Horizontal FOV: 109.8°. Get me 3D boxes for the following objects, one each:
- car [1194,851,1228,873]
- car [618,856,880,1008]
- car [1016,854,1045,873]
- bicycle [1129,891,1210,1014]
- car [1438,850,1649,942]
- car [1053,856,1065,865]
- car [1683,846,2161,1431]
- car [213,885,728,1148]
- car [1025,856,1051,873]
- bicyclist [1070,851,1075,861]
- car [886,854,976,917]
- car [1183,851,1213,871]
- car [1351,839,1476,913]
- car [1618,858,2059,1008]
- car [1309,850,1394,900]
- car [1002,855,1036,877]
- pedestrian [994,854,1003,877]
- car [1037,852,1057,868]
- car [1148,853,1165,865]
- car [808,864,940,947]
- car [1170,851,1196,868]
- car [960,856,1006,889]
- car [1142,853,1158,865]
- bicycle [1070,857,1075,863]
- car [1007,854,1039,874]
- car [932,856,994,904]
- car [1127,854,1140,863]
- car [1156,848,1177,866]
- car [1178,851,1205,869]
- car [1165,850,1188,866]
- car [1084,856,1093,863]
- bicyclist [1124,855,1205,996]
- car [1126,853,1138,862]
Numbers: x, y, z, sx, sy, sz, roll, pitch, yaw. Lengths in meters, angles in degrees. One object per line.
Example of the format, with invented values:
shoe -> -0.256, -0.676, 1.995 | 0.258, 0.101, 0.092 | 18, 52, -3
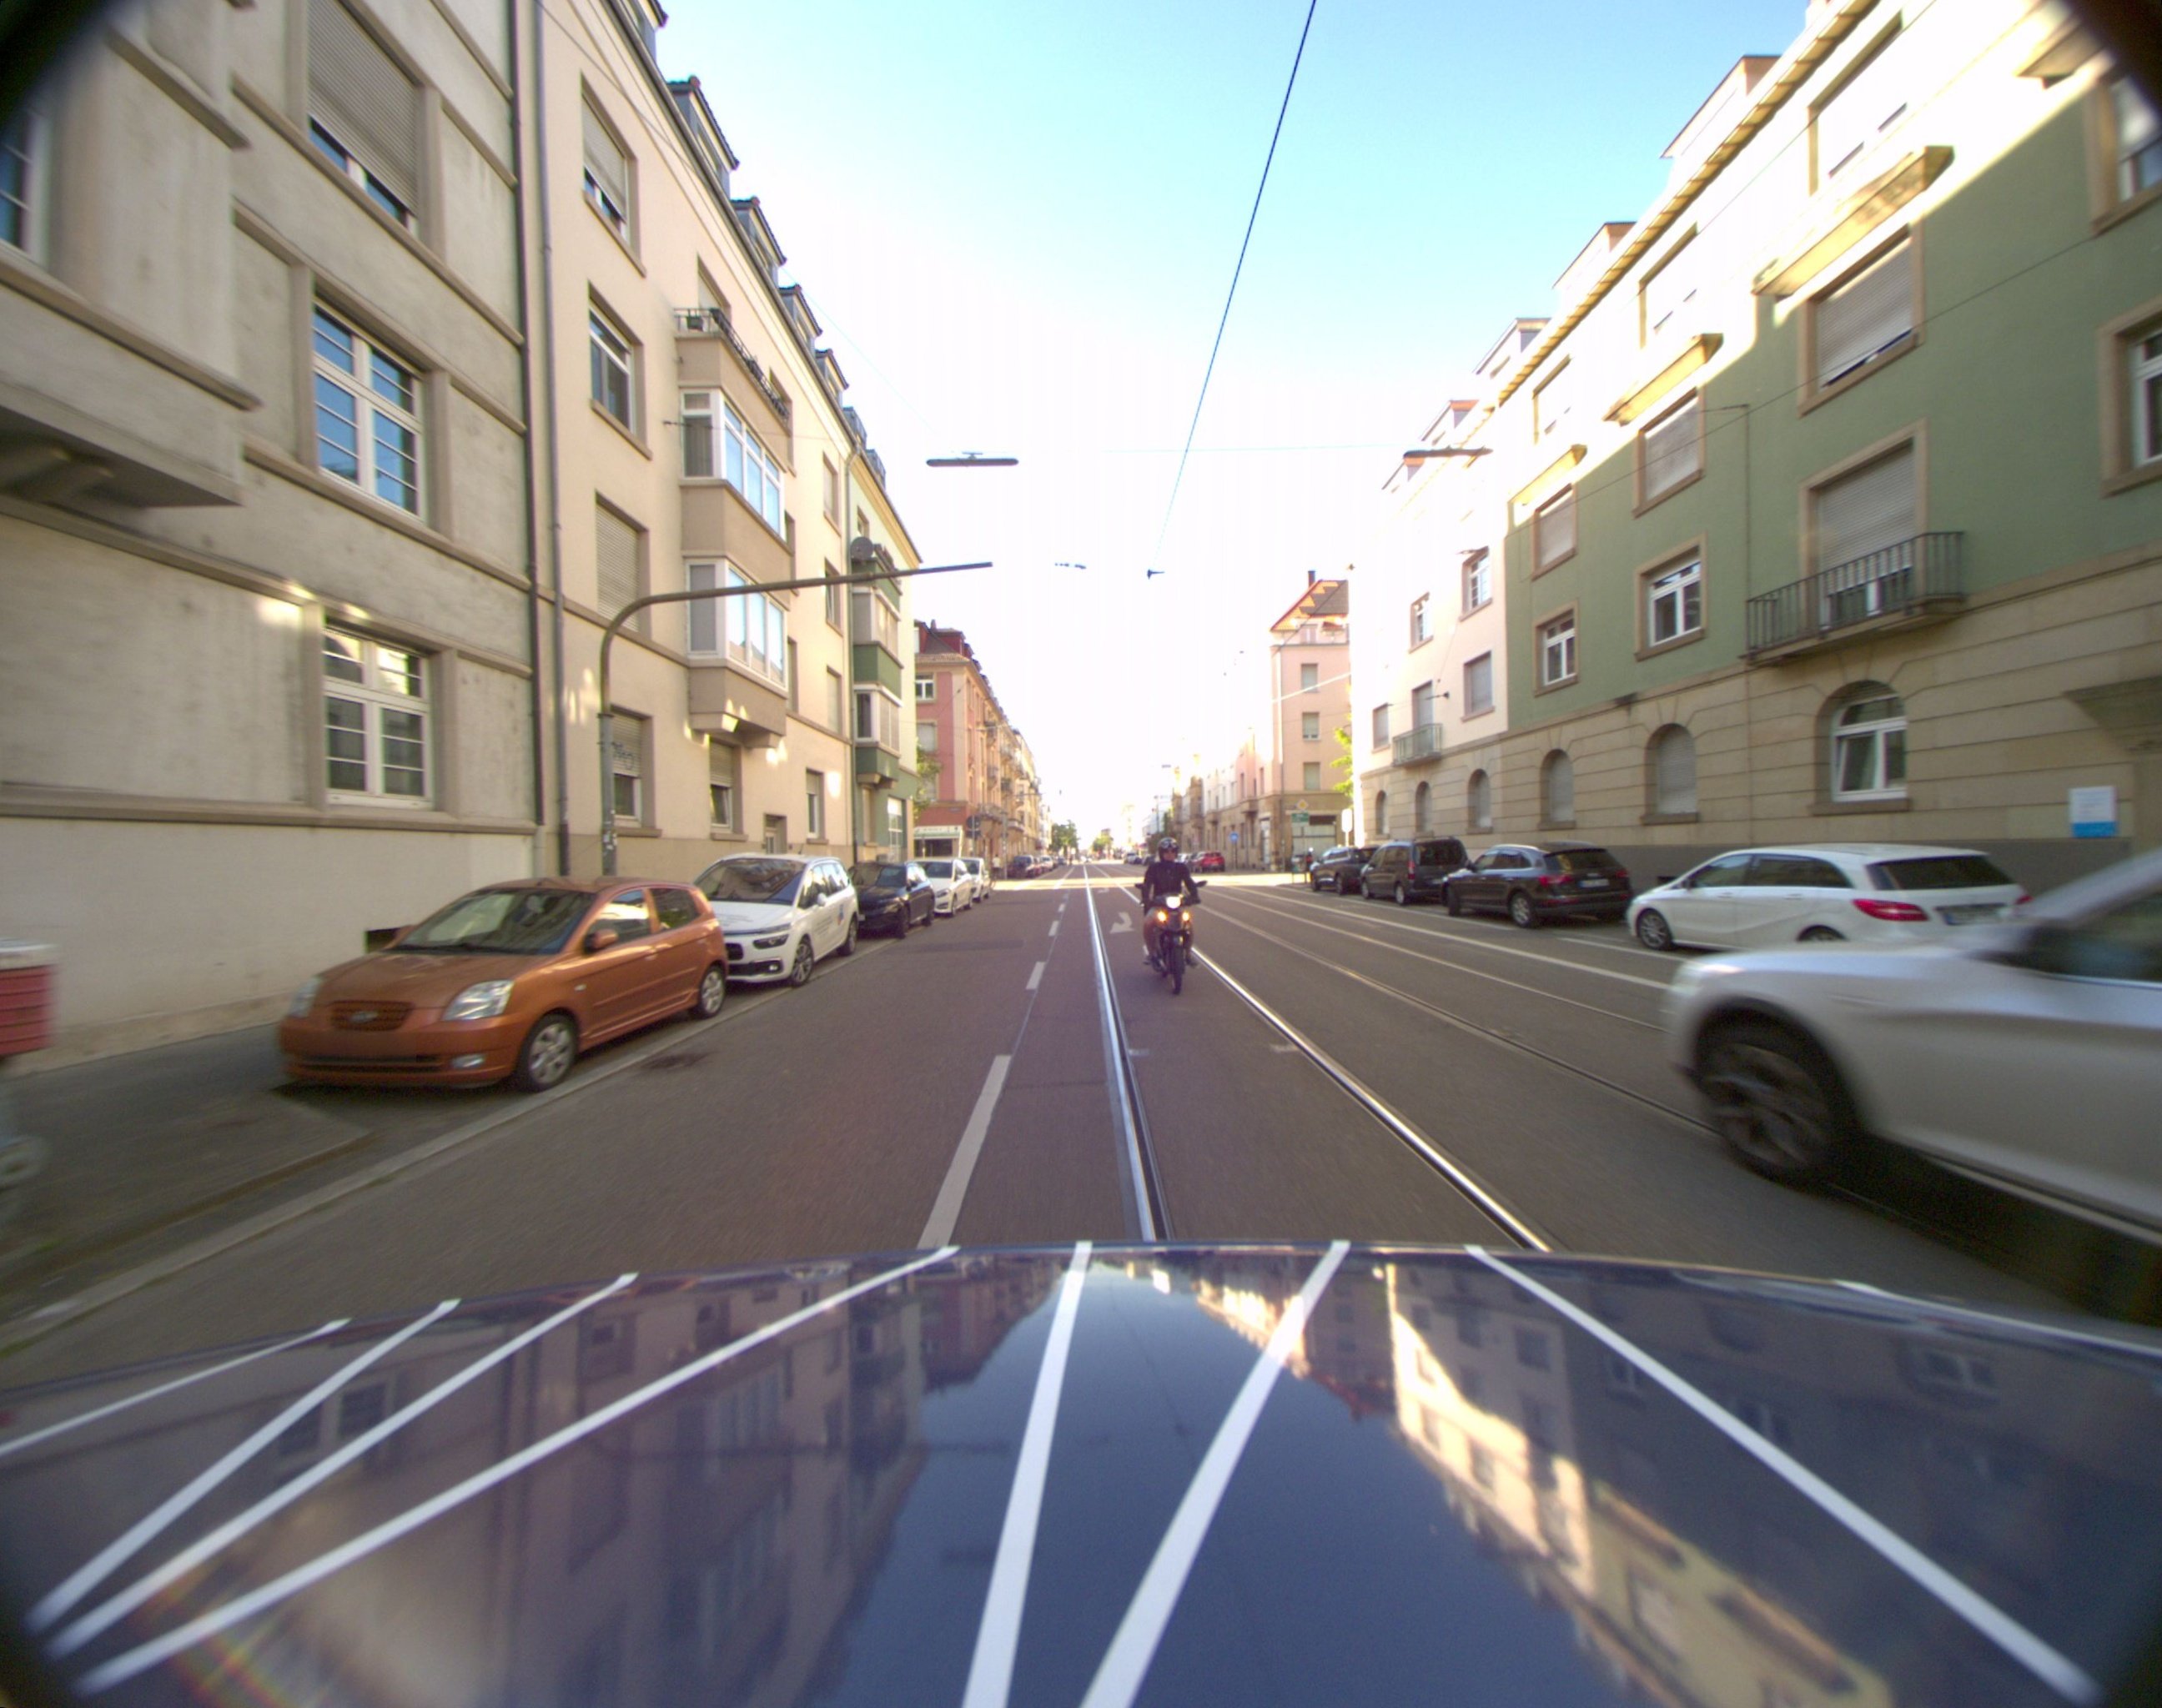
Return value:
car -> 9.762, 0.557, 57.339 | 1.798, 1.494, 3.769 | -3, 0, -1
car -> -4.339, 0.898, 10.755 | 1.702, 1.688, 4.188 | 0, 0, 3
car -> -4.058, 0.732, 61.520 | 1.998, 1.455, 4.000 | 0, 0, 1
bicycle -> 0.981, 1.074, 8.883 | 0.740, 1.170, 1.974 | -1, 0, 1
car -> 9.273, 0.744, 15.703 | 1.702, 1.569, 4.222 | -3, 0, -1
car -> -4.033, 1.173, 139.589 | 1.998, 1.674, 4.000 | -1, 0, 1
car -> 3.845, 0.779, 1.581 | 1.772, 1.598, 4.293 | 0, 0, 0
car -> -4.573, 1.081, 6.403 | 1.570, 1.475, 3.365 | 0, 0, 1
car -> -3.858, 0.912, 68.418 | 1.998, 1.455, 4.000 | 0, 0, 1
bicyclist -> -1.291, 0.340, 113.546 | 0.744, 1.481, 0.816 | -1, 1, 1
car -> -4.143, 0.802, 21.540 | 1.703, 1.581, 3.960 | -1, 0, 0
car -> 9.647, 0.568, 62.795 | 1.798, 1.494, 3.769 | -3, 0, -1
car -> 9.323, 0.564, 21.663 | 1.798, 1.836, 3.769 | -3, 0, -1
car -> 9.234, 0.831, 9.847 | 1.751, 1.502, 4.000 | 0, 0, 1
car -> 9.376, 0.665, 26.666 | 1.798, 1.601, 3.770 | -1, 0, 3
car -> -4.220, 0.798, 52.166 | 1.998, 1.412, 3.727 | 0, 0, 1
pedestrian -> -5.333, 0.763, 49.319 | 0.526, 1.483, 0.491 | 0, 1, 1
car -> -3.652, 0.639, 82.154 | 1.998, 1.630, 4.000 | 0, 0, 1
car -> 9.733, 0.640, 98.248 | 1.798, 1.494, 3.769 | -3, 0, -1
car -> -4.311, 1.005, 16.424 | 1.703, 1.496, 3.863 | -1, 0, 1
car -> 9.778, 0.548, 73.025 | 1.798, 1.494, 3.769 | -3, 0, -1
car -> -4.640, 0.851, 36.484 | 1.703, 1.465, 3.779 | 0, 0, 0
car -> 9.641, 0.652, 106.273 | 1.798, 1.494, 3.769 | -3, 0, -1
bicycle -> -1.300, 0.897, 113.439 | 0.744, 0.850, 1.886 | -1, 0, 1
car -> -4.280, 0.752, 56.467 | 1.998, 1.412, 3.727 | 0, 0, 1
car -> -4.187, 0.886, 27.436 | 1.703, 1.581, 3.354 | 0, 0, 0
car -> 9.045, 0.729, 130.400 | 1.798, 1.494, 3.769 | -3, 0, -1
car -> 9.836, 0.320, 87.753 | 1.998, 2.002, 4.000 | 0, 0, 0
car -> 9.909, 0.497, 68.216 | 1.798, 1.494, 3.769 | -3, 0, -1
car -> 9.763, 0.396, 78.112 | 1.798, 1.494, 3.769 | -3, 0, -1
car -> 1.758, 1.238, 179.922 | 1.998, 1.586, 4.000 | -1, 0, 0
bicyclist -> 0.947, 0.792, 8.810 | 0.843, 1.545, 0.850 | -1, 1, 2
car -> 9.160, 0.658, 136.093 | 1.798, 1.494, 3.769 | -3, 0, -1
